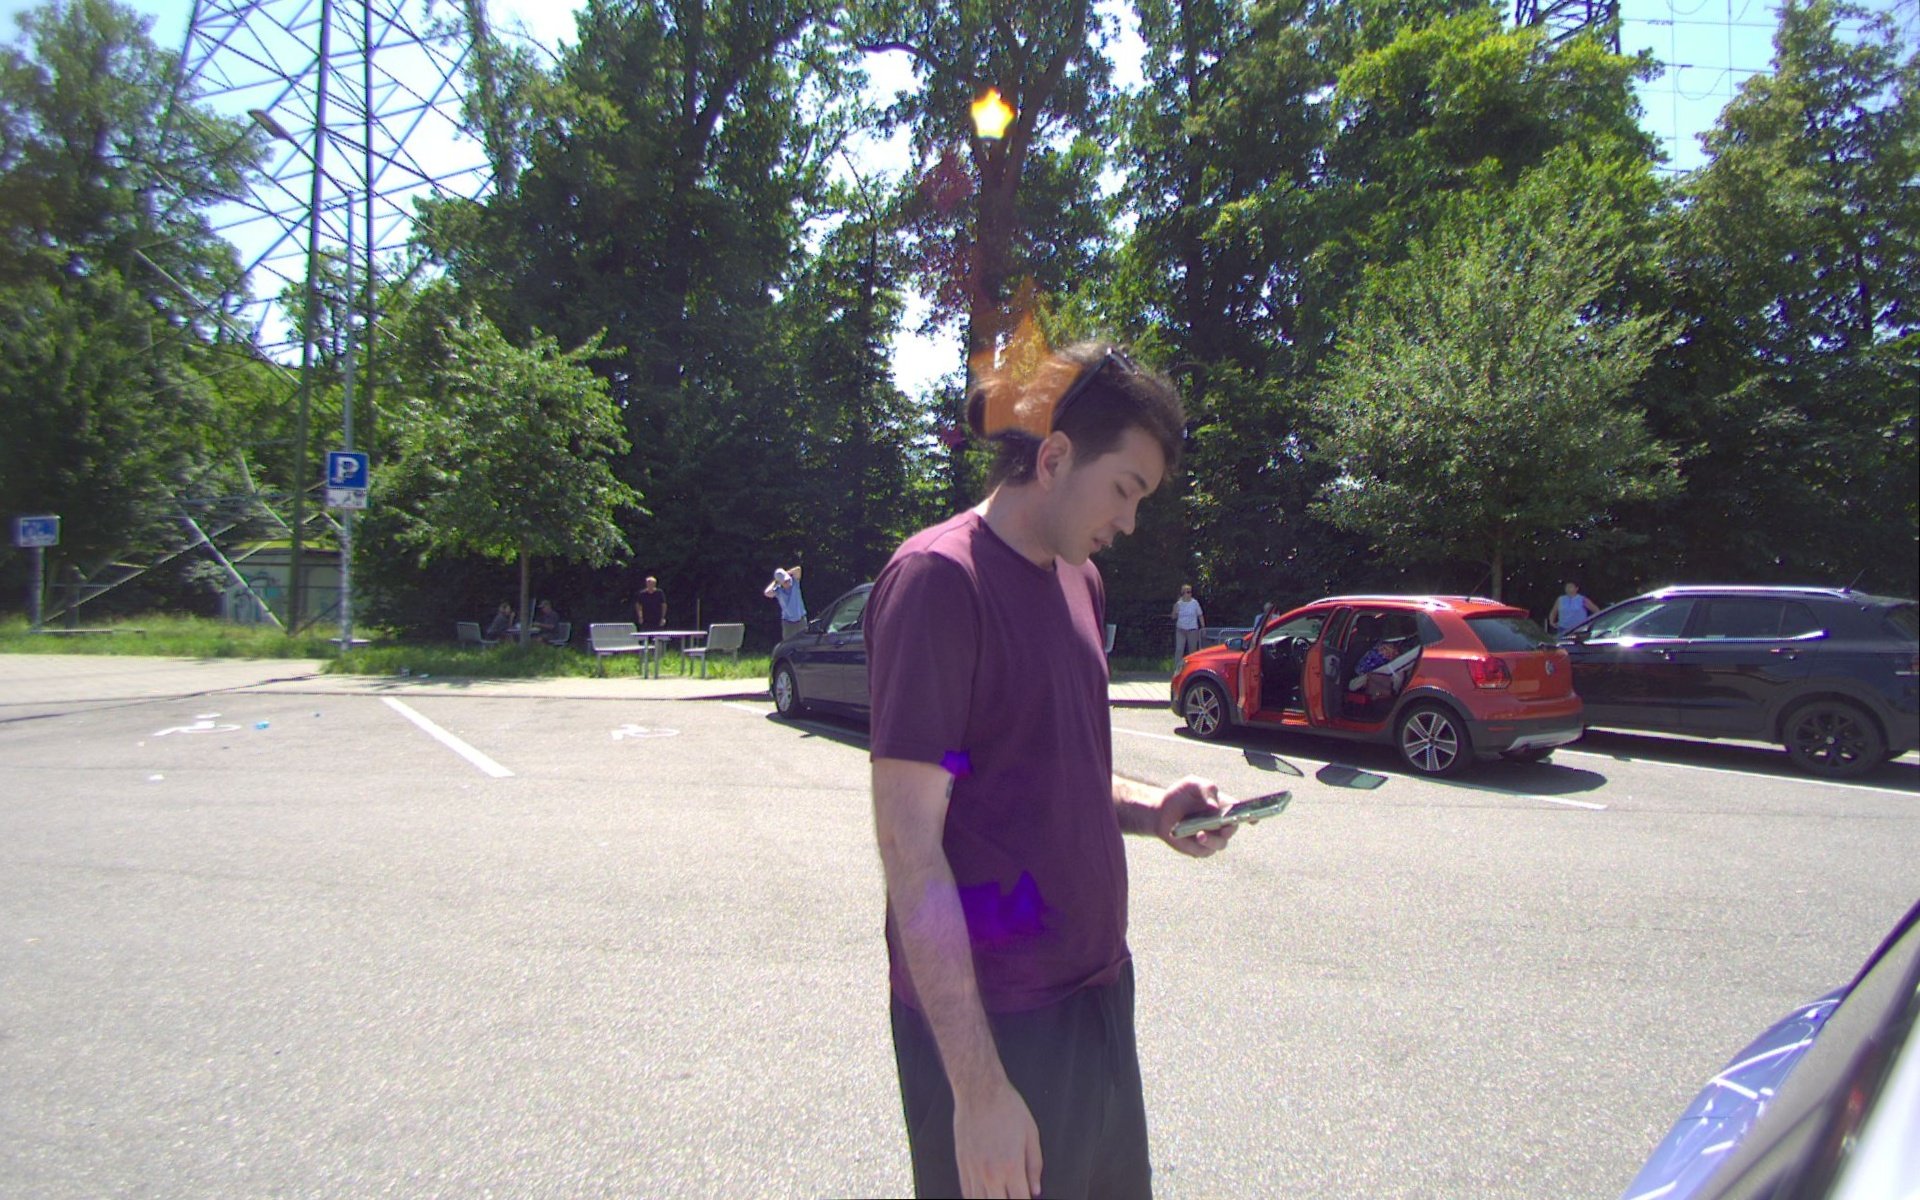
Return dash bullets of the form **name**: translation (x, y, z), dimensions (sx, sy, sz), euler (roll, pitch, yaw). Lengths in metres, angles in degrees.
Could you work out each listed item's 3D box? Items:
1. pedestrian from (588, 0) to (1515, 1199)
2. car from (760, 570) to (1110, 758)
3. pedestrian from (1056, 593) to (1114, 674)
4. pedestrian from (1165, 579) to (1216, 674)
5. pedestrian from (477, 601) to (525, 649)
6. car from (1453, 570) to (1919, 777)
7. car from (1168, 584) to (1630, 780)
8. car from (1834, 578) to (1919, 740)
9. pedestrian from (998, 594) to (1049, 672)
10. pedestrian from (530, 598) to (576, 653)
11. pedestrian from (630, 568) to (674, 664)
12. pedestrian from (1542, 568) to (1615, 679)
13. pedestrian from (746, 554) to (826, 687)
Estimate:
- **pedestrian**: translation (0.138, 0.452, 1.344), dimensions (0.828, 1.797, 0.926), euler (0, -1, 45)
- **car**: translation (-0.459, 0.538, 10.718), dimensions (1.809, 1.588, 4.017), euler (1, 0, -35)
- **pedestrian**: translation (2.081, 0.545, 16.915), dimensions (0.656, 1.311, 0.832), euler (1, -1, -17)
- **pedestrian**: translation (4.042, 0.447, 17.687), dimensions (0.766, 1.614, 0.804), euler (0, -1, 20)
- **pedestrian**: translation (-10.367, 0.555, 22.848), dimensions (0.796, 1.062, 0.714), euler (1, -1, -43)
- **car**: translation (7.194, 0.572, 9.823), dimensions (1.807, 1.612, 3.967), euler (1, 0, -38)
- **car**: translation (3.952, 0.617, 9.668), dimensions (1.746, 1.475, 3.710), euler (1, 0, -33)
- **car**: translation (10.954, 0.597, 9.401), dimensions (1.745, 1.612, 3.972), euler (1, 0, -32)
- **pedestrian**: translation (1.079, 0.551, 17.173), dimensions (0.656, 1.285, 0.655), euler (1, -1, -17)
- **pedestrian**: translation (-9.520, 0.593, 23.668), dimensions (0.796, 1.253, 0.713), euler (1, -1, -44)
- **pedestrian**: translation (-6.125, 0.308, 20.113), dimensions (0.700, 1.851, 0.906), euler (1, -1, -24)
- **pedestrian**: translation (9.315, 0.342, 15.247), dimensions (0.795, 1.614, 0.714), euler (1, -1, -40)
- **pedestrian**: translation (-2.435, 0.276, 14.144), dimensions (0.786, 1.784, 0.809), euler (1, -1, -39)
